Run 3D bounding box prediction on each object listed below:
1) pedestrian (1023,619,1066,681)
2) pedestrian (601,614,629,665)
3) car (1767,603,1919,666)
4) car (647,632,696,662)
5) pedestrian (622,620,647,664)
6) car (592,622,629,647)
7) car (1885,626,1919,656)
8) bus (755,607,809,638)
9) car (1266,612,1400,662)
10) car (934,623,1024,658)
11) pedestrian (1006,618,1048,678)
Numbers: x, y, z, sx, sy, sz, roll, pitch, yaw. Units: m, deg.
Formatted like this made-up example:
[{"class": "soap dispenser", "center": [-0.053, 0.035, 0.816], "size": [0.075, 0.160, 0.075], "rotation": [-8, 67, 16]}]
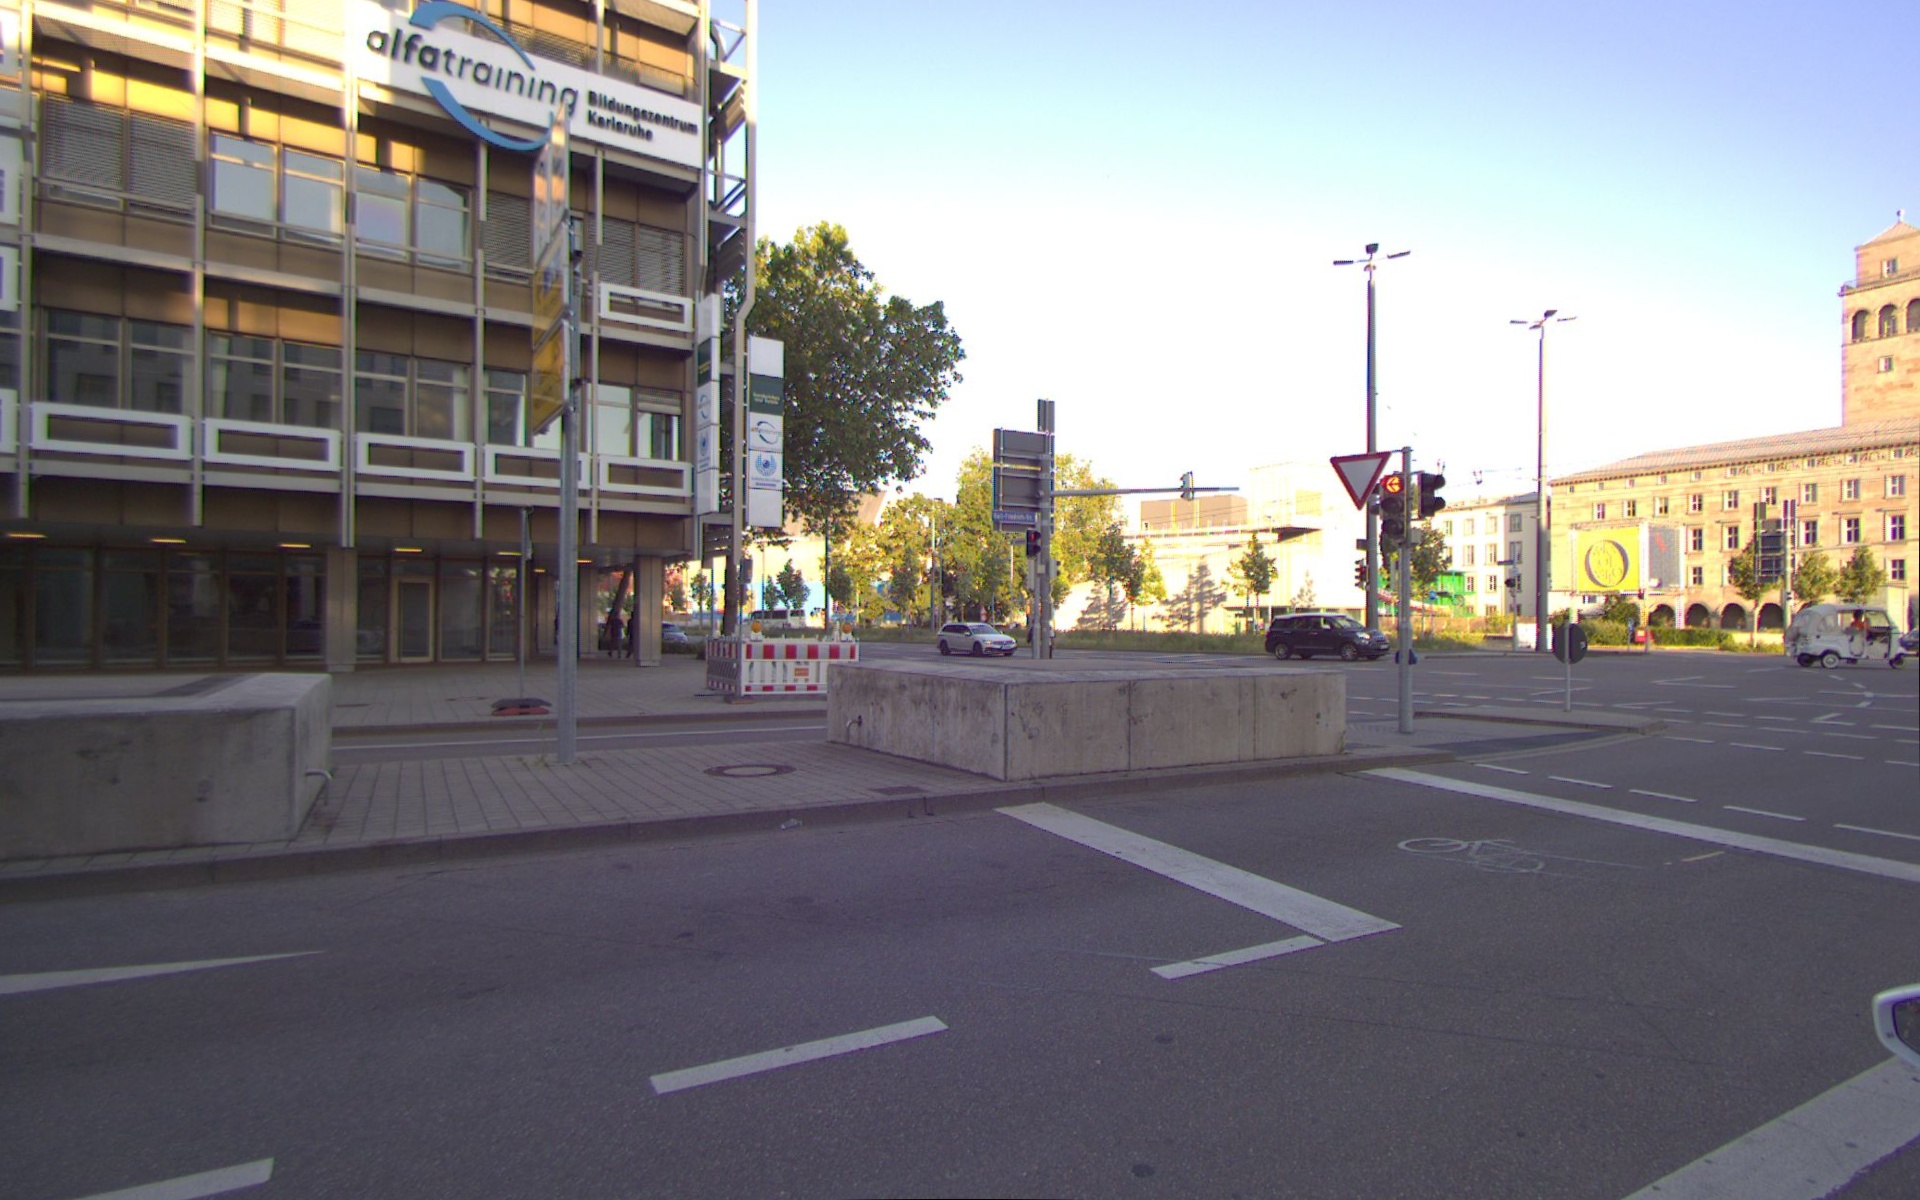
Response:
[{"class": "pedestrian", "center": [2.428, 1.412, 28.821], "size": [0.949, 1.744, 0.816], "rotation": [1, -1, -34]}, {"class": "pedestrian", "center": [-12.650, 1.455, 36.821], "size": [0.749, 1.830, 0.715], "rotation": [2, 0, -35]}, {"class": "car", "center": [24.835, 0.962, 28.294], "size": [2.913, 1.718, 1.489], "rotation": [0, -1, 11]}, {"class": "car", "center": [-16.942, 2.709, 58.884], "size": [1.722, 1.605, 4.554], "rotation": [0, -1, -30]}, {"class": "pedestrian", "center": [-12.076, 1.544, 37.261], "size": [0.660, 1.606, 0.715], "rotation": [2, 0, -34]}, {"class": "car", "center": [-24.370, 2.375, 69.943], "size": [1.722, 1.605, 3.764], "rotation": [0, -1, -31]}, {"class": "car", "center": [51.288, 2.169, 53.605], "size": [4.111, 1.485, 1.813], "rotation": [0, -1, -32]}, {"class": "bus", "center": [-23.153, 2.899, 130.102], "size": [2.959, 3.818, 10.341], "rotation": [1, -1, -34]}, {"class": "car", "center": [12.905, 1.251, 34.969], "size": [1.729, 1.626, 4.088], "rotation": [1, -1, -39]}, {"class": "car", "center": [0.775, 1.778, 45.227], "size": [1.831, 1.476, 4.550], "rotation": [0, -1, -33]}, {"class": "pedestrian", "center": [1.967, 1.402, 29.595], "size": [0.949, 1.744, 0.816], "rotation": [1, -1, -34]}]
